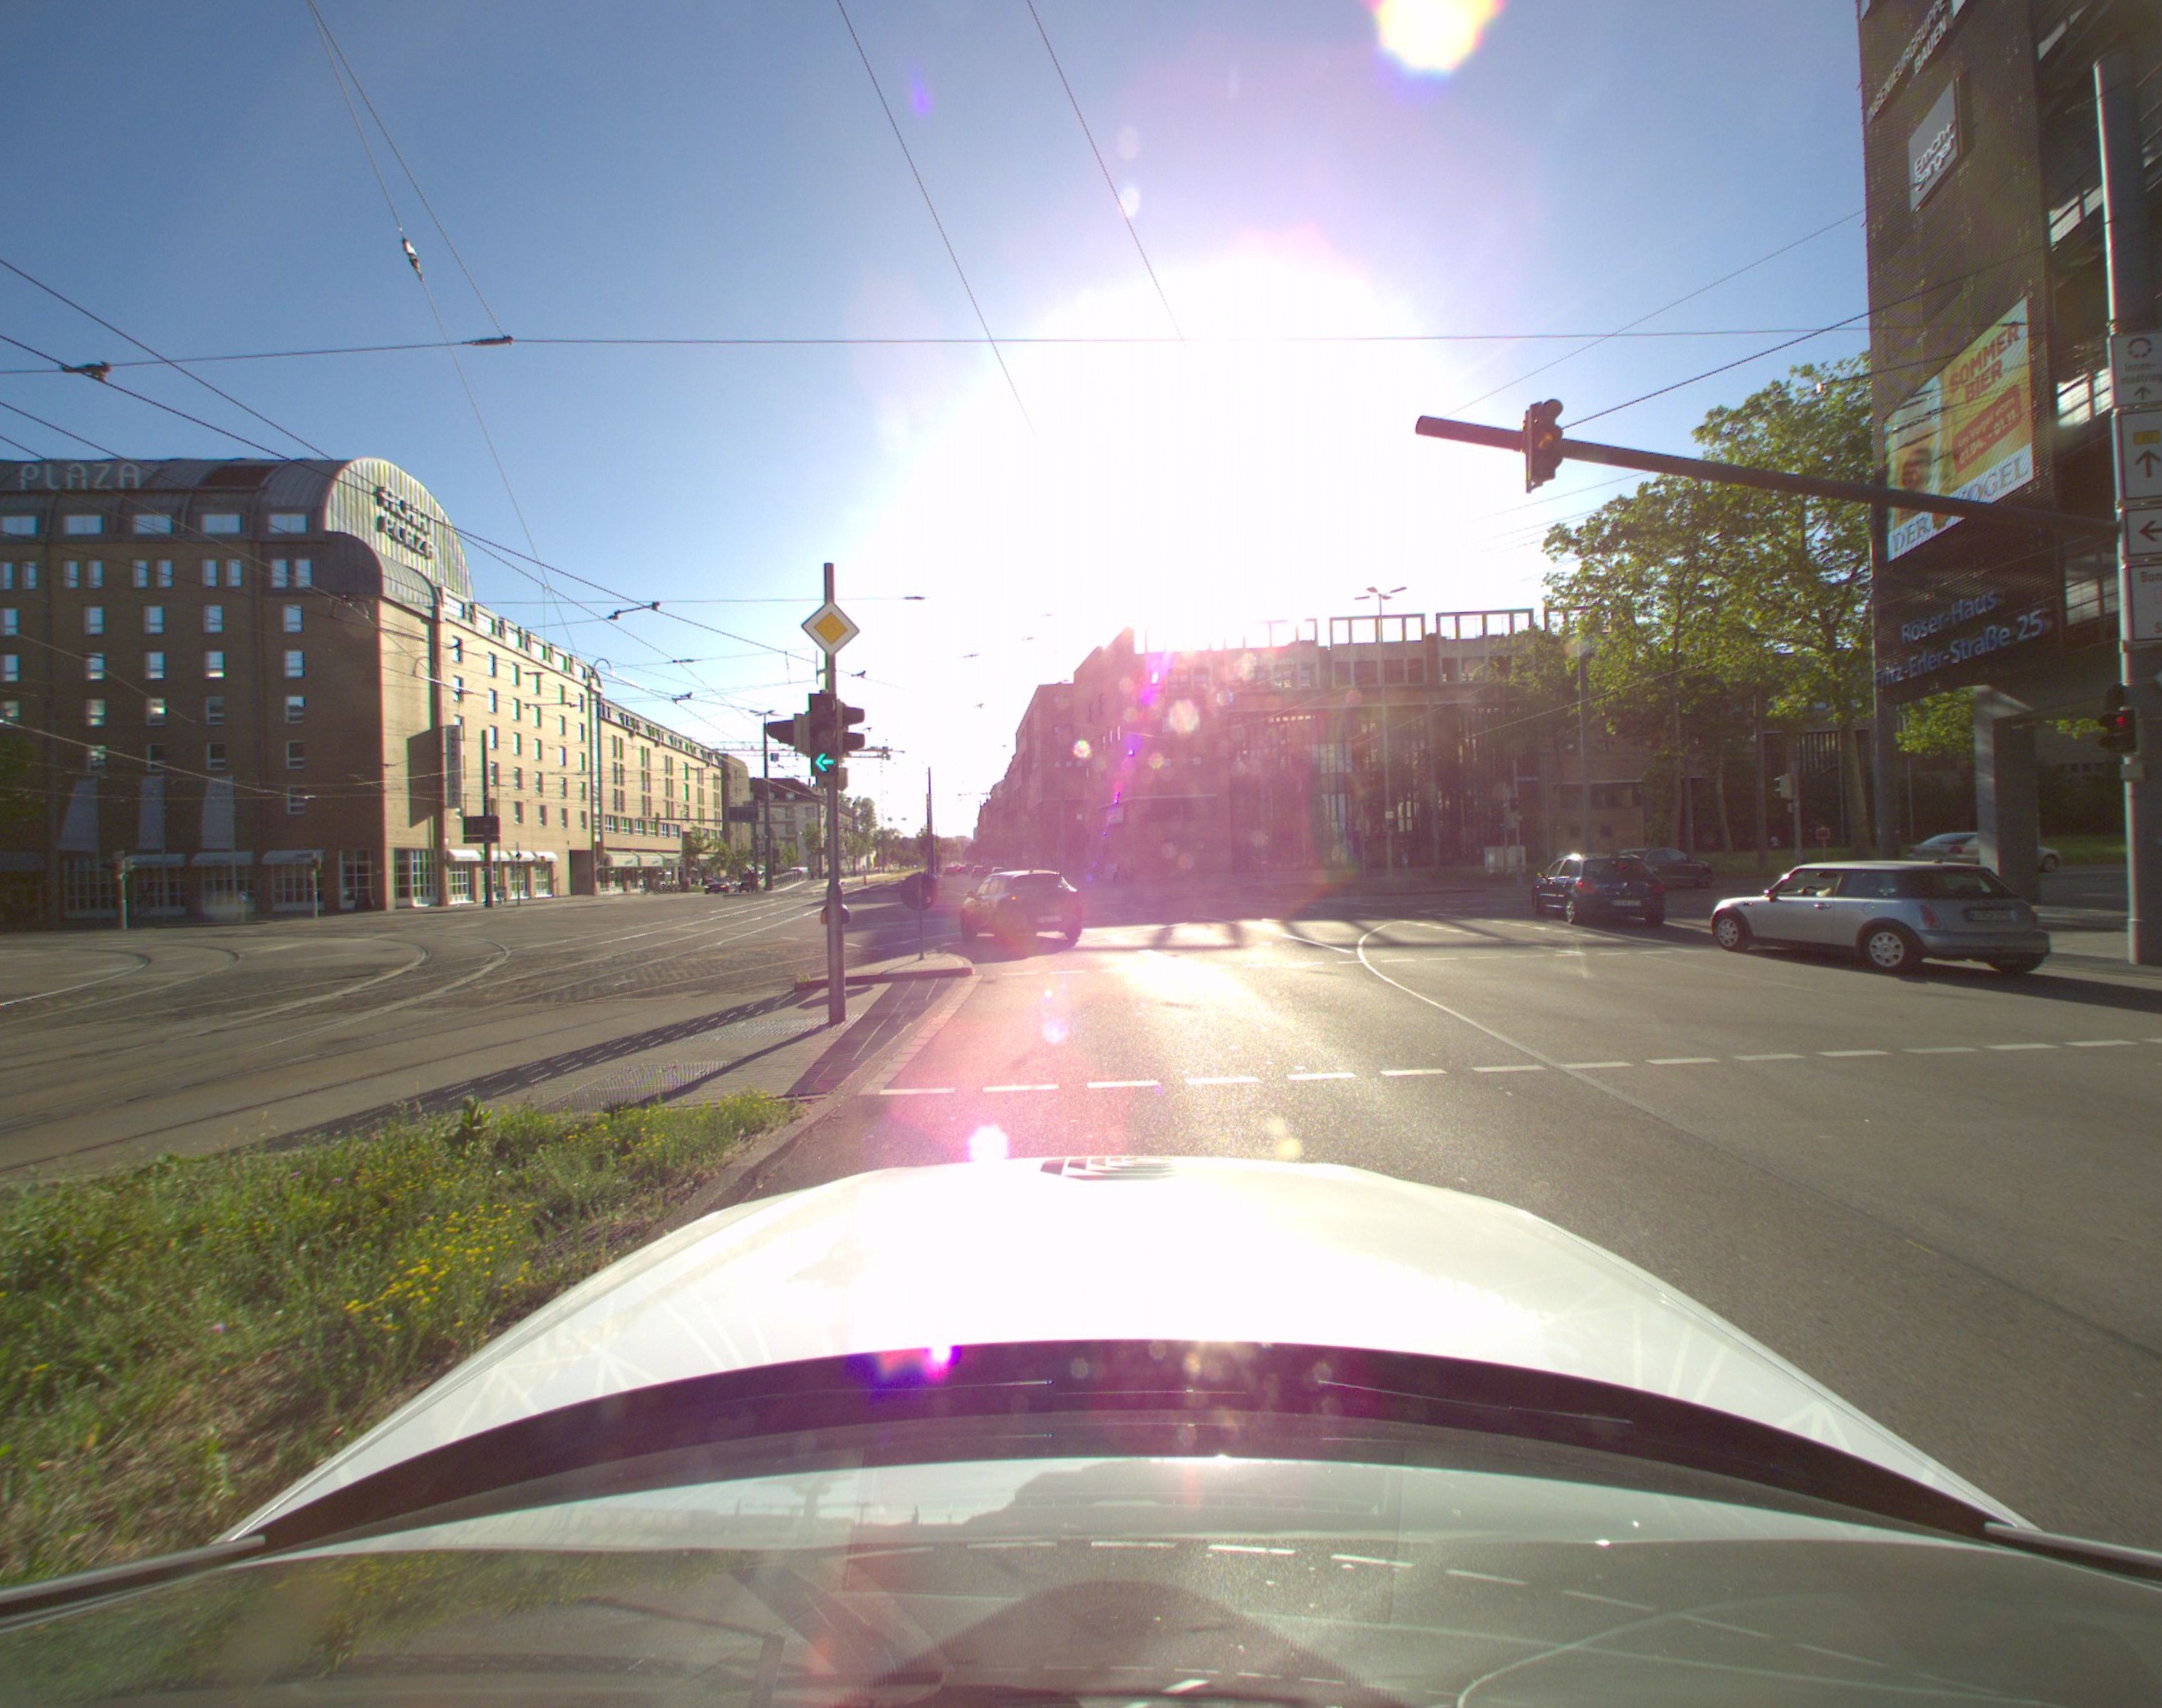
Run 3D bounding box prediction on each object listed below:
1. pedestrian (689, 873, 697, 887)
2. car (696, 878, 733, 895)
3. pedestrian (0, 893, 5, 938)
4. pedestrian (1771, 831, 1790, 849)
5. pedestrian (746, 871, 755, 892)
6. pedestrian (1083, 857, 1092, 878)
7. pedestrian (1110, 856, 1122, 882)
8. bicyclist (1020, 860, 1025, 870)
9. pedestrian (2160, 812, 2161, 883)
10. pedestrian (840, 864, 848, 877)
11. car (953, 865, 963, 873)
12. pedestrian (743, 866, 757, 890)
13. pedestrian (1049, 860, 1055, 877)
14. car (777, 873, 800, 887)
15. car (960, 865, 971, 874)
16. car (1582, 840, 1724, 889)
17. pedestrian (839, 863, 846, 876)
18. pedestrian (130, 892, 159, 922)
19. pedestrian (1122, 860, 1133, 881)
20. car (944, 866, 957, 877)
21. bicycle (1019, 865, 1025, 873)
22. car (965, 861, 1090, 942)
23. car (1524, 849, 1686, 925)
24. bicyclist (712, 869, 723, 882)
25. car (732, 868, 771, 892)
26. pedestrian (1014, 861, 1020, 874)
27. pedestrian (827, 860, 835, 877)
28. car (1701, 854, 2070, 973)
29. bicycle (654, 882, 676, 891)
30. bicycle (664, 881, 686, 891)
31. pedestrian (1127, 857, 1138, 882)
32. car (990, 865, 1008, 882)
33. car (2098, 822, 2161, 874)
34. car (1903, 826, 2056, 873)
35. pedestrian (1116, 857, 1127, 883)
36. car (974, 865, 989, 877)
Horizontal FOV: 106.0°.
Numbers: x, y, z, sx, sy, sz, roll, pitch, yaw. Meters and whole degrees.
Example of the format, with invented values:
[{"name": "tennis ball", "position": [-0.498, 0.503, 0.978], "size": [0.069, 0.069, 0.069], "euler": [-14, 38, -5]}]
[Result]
[{"name": "pedestrian", "position": [-48.023, 3.216, 100.847], "size": [0.716, 1.764, 0.564], "euler": [-3, -1, -7]}, {"name": "car", "position": [-31.186, 2.755, 69.469], "size": [1.840, 1.268, 4.214], "euler": [-4, 0, -11]}, {"name": "pedestrian", "position": [-41.165, 2.347, 30.421], "size": [0.713, 1.680, 0.829], "euler": [-2, 1, -7]}, {"name": "pedestrian", "position": [53.975, -1.069, 62.833], "size": [0.684, 1.384, 0.810], "euler": [-2, 0, -7]}, {"name": "pedestrian", "position": [-25.036, 2.069, 61.671], "size": [0.583, 1.577, 0.642], "euler": [-2, -1, -22]}, {"name": "pedestrian", "position": [0.568, 1.211, 72.290], "size": [0.639, 1.786, 0.687], "euler": [-3, -1, -6]}, {"name": "pedestrian", "position": [2.511, 1.077, 58.389], "size": [0.573, 1.786, 0.546], "euler": [-2, -1, -17]}, {"name": "bicyclist", "position": [-7.734, 1.452, 107.197], "size": [0.645, 1.339, 0.651], "euler": [-2, -1, -8]}, {"name": "pedestrian", "position": [25.396, -0.146, 18.542], "size": [0.788, 1.640, 0.660], "euler": [-1, 0, -2]}, {"name": "pedestrian", "position": [-30.585, 2.089, 105.138], "size": [0.863, 1.670, 0.732], "euler": [-1, 0, -19]}, {"name": "car", "position": [-22.716, 2.771, 150.626], "size": [1.720, 1.453, 3.686], "euler": [-3, 0, -9]}, {"name": "pedestrian", "position": [-24.235, 1.735, 59.653], "size": [0.720, 1.727, 0.593], "euler": [-2, -1, -8]}, {"name": "pedestrian", "position": [-3.115, 1.547, 86.310], "size": [0.547, 1.786, 0.572], "euler": [-2, 2, -6]}, {"name": "car", "position": [-34.989, 3.124, 97.548], "size": [1.839, 1.448, 4.283], "euler": [-4, 0, -10]}, {"name": "car", "position": [-19.828, 2.659, 139.421], "size": [1.720, 1.453, 3.686], "euler": [-3, 0, -9]}, {"name": "car", "position": [18.319, 0.326, 26.096], "size": [4.018, 1.440, 1.689], "euler": [-1, -1, -19]}, {"name": "pedestrian", "position": [-30.962, 2.039, 105.831], "size": [0.863, 1.670, 0.779], "euler": [-1, 0, -19]}, {"name": "pedestrian", "position": [-54.043, 3.032, 47.007], "size": [0.750, 1.666, 0.739], "euler": [-2, 0, -7]}, {"name": "pedestrian", "position": [3.409, 1.200, 59.963], "size": [0.550, 1.477, 0.568], "euler": [-2, 0, -27]}, {"name": "car", "position": [-19.139, 2.505, 119.267], "size": [1.720, 1.453, 3.686], "euler": [-3, 0, -9]}, {"name": "bicycle", "position": [-7.724, 1.970, 107.212], "size": [0.648, 0.904, 2.339], "euler": [-2, 0, -7]}, {"name": "car", "position": [-1.242, 0.914, 17.334], "size": [1.678, 1.502, 3.664], "euler": [0, -1, -21]}, {"name": "car", "position": [11.501, 0.663, 18.216], "size": [1.848, 1.475, 3.993], "euler": [-2, 0, 14]}, {"name": "bicyclist", "position": [-39.992, 2.355, 89.651], "size": [0.810, 1.377, 0.922], "euler": [-2, 0, -10]}, {"name": "car", "position": [-27.922, 2.211, 69.094], "size": [1.837, 1.836, 4.098], "euler": [-4, 0, -6]}, {"name": "pedestrian", "position": [-8.632, 1.798, 109.764], "size": [0.640, 1.786, 0.686], "euler": [-2, -1, -8]}, {"name": "pedestrian", "position": [-29.804, 1.722, 96.916], "size": [0.863, 1.886, 0.732], "euler": [-1, 0, -19]}, {"name": "car", "position": [10.807, 0.720, 11.349], "size": [1.655, 1.389, 3.536], "euler": [0, -1, 0]}, {"name": "bicycle", "position": [-43.065, 3.360, 84.342], "size": [2.026, 0.921, 0.483], "euler": [-2, 0, 1]}, {"name": "bicycle", "position": [-42.658, 3.330, 85.523], "size": [2.026, 0.921, 0.483], "euler": [-2, 0, 1]}, {"name": "pedestrian", "position": [3.719, 1.119, 59.128], "size": [0.573, 1.786, 0.546], "euler": [-2, -1, -17]}, {"name": "car", "position": [-7.446, 1.733, 73.879], "size": [1.558, 1.456, 3.423], "euler": [-2, 0, -7]}, {"name": "car", "position": [32.383, -0.236, 23.342], "size": [3.948, 1.475, 1.869], "euler": [-2, 0, 3]}, {"name": "car", "position": [31.222, -0.164, 28.342], "size": [3.969, 1.475, 1.695], "euler": [-2, 0, -10]}, {"name": "pedestrian", "position": [2.883, 1.115, 57.801], "size": [0.573, 1.786, 0.546], "euler": [-2, -1, -17]}, {"name": "car", "position": [-12.421, 2.124, 101.556], "size": [1.670, 1.453, 3.686], "euler": [-3, 0, -9]}]
